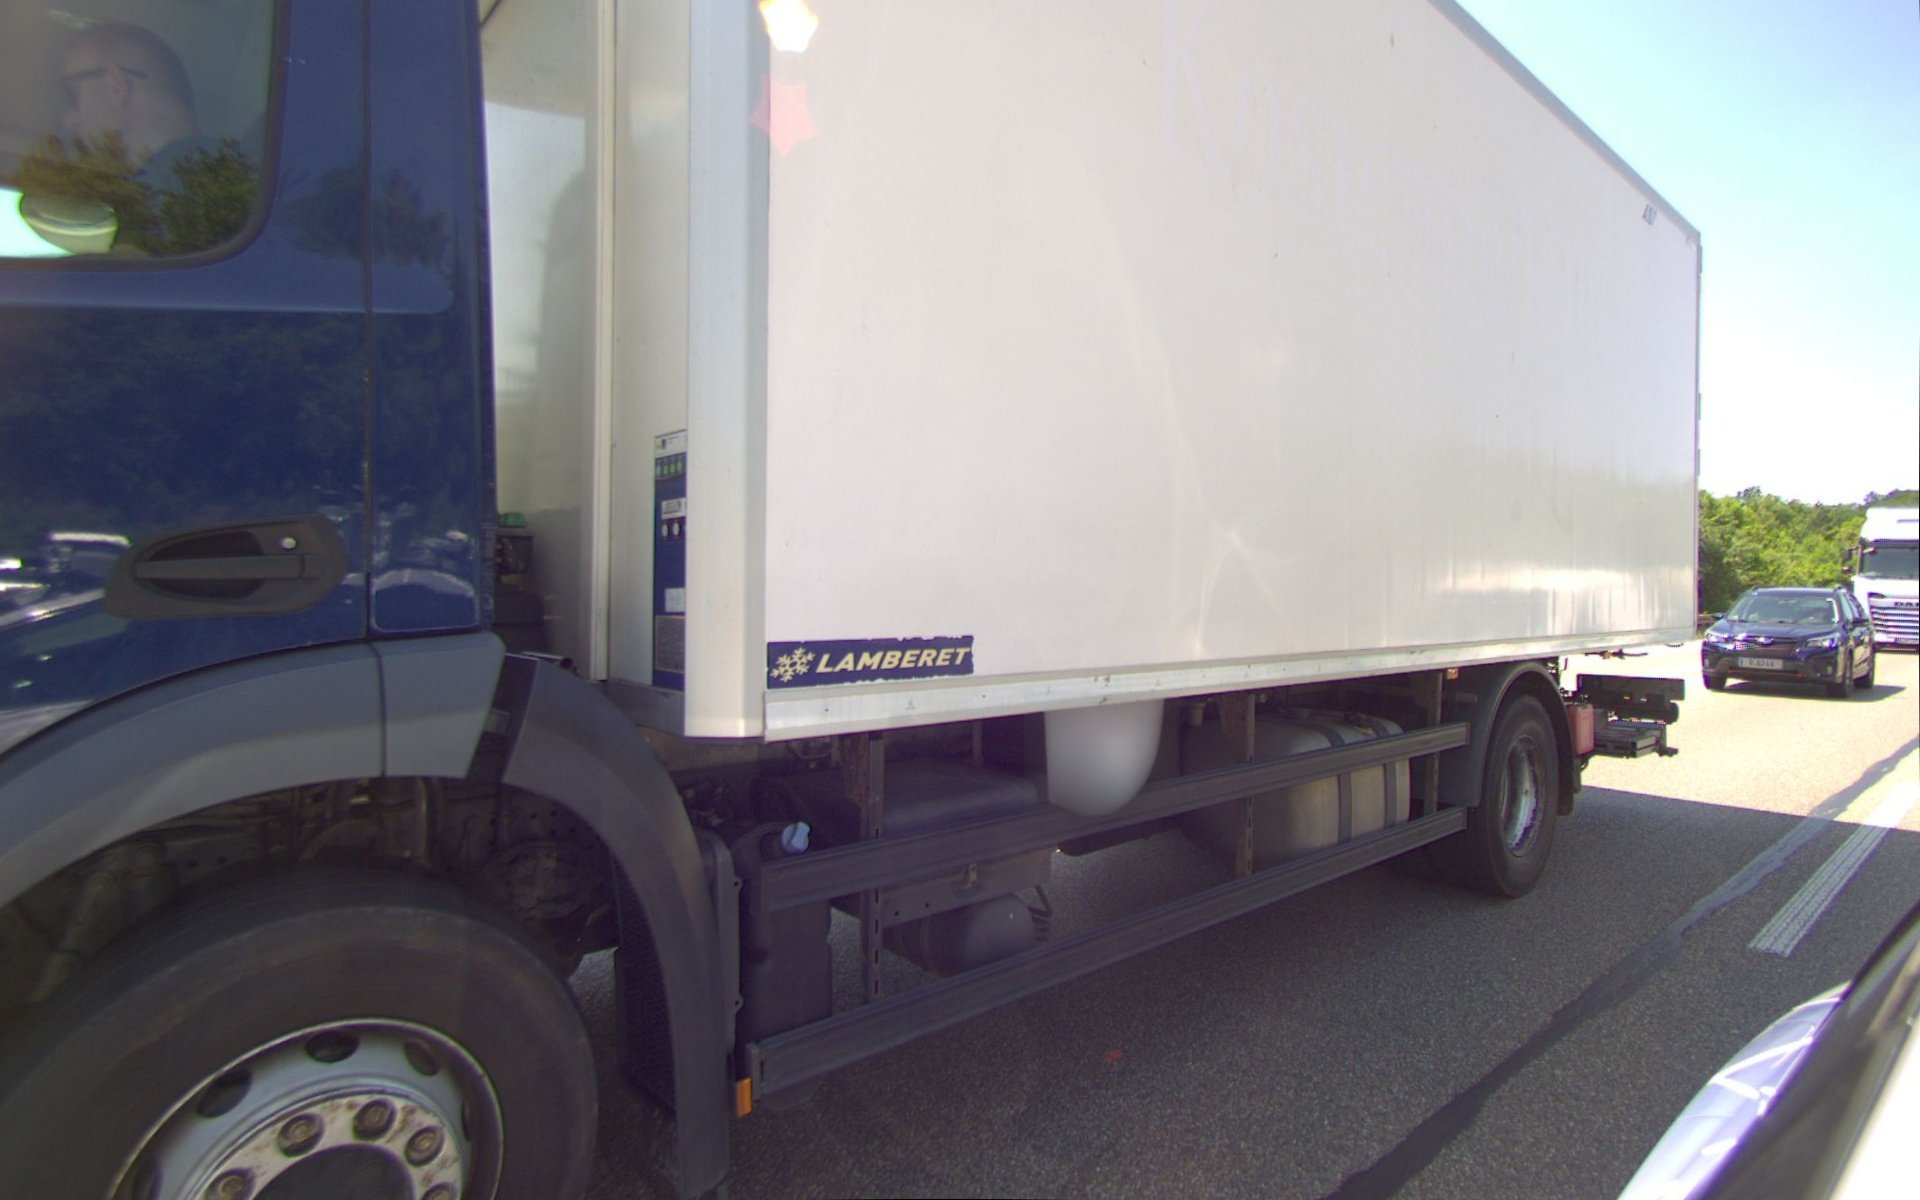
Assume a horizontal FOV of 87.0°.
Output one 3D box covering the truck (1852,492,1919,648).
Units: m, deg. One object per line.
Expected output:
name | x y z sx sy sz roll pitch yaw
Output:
truck | 28.169 -0.860 29.203 7.207 4.135 2.764 -1 1 -41

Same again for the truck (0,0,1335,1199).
truck | -1.170 -0.101 2.903 4.032 2.977 2.561 -1 2 -40

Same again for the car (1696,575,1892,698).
car | 13.928 0.465 16.804 4.535 1.713 1.995 -1 3 -44

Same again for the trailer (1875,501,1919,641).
trailer | 32.842 -0.933 33.292 11.418 4.134 2.765 -1 3 -42

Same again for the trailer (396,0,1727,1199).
trailer | 1.621 -0.167 5.409 7.747 2.935 2.559 0 0 -42
